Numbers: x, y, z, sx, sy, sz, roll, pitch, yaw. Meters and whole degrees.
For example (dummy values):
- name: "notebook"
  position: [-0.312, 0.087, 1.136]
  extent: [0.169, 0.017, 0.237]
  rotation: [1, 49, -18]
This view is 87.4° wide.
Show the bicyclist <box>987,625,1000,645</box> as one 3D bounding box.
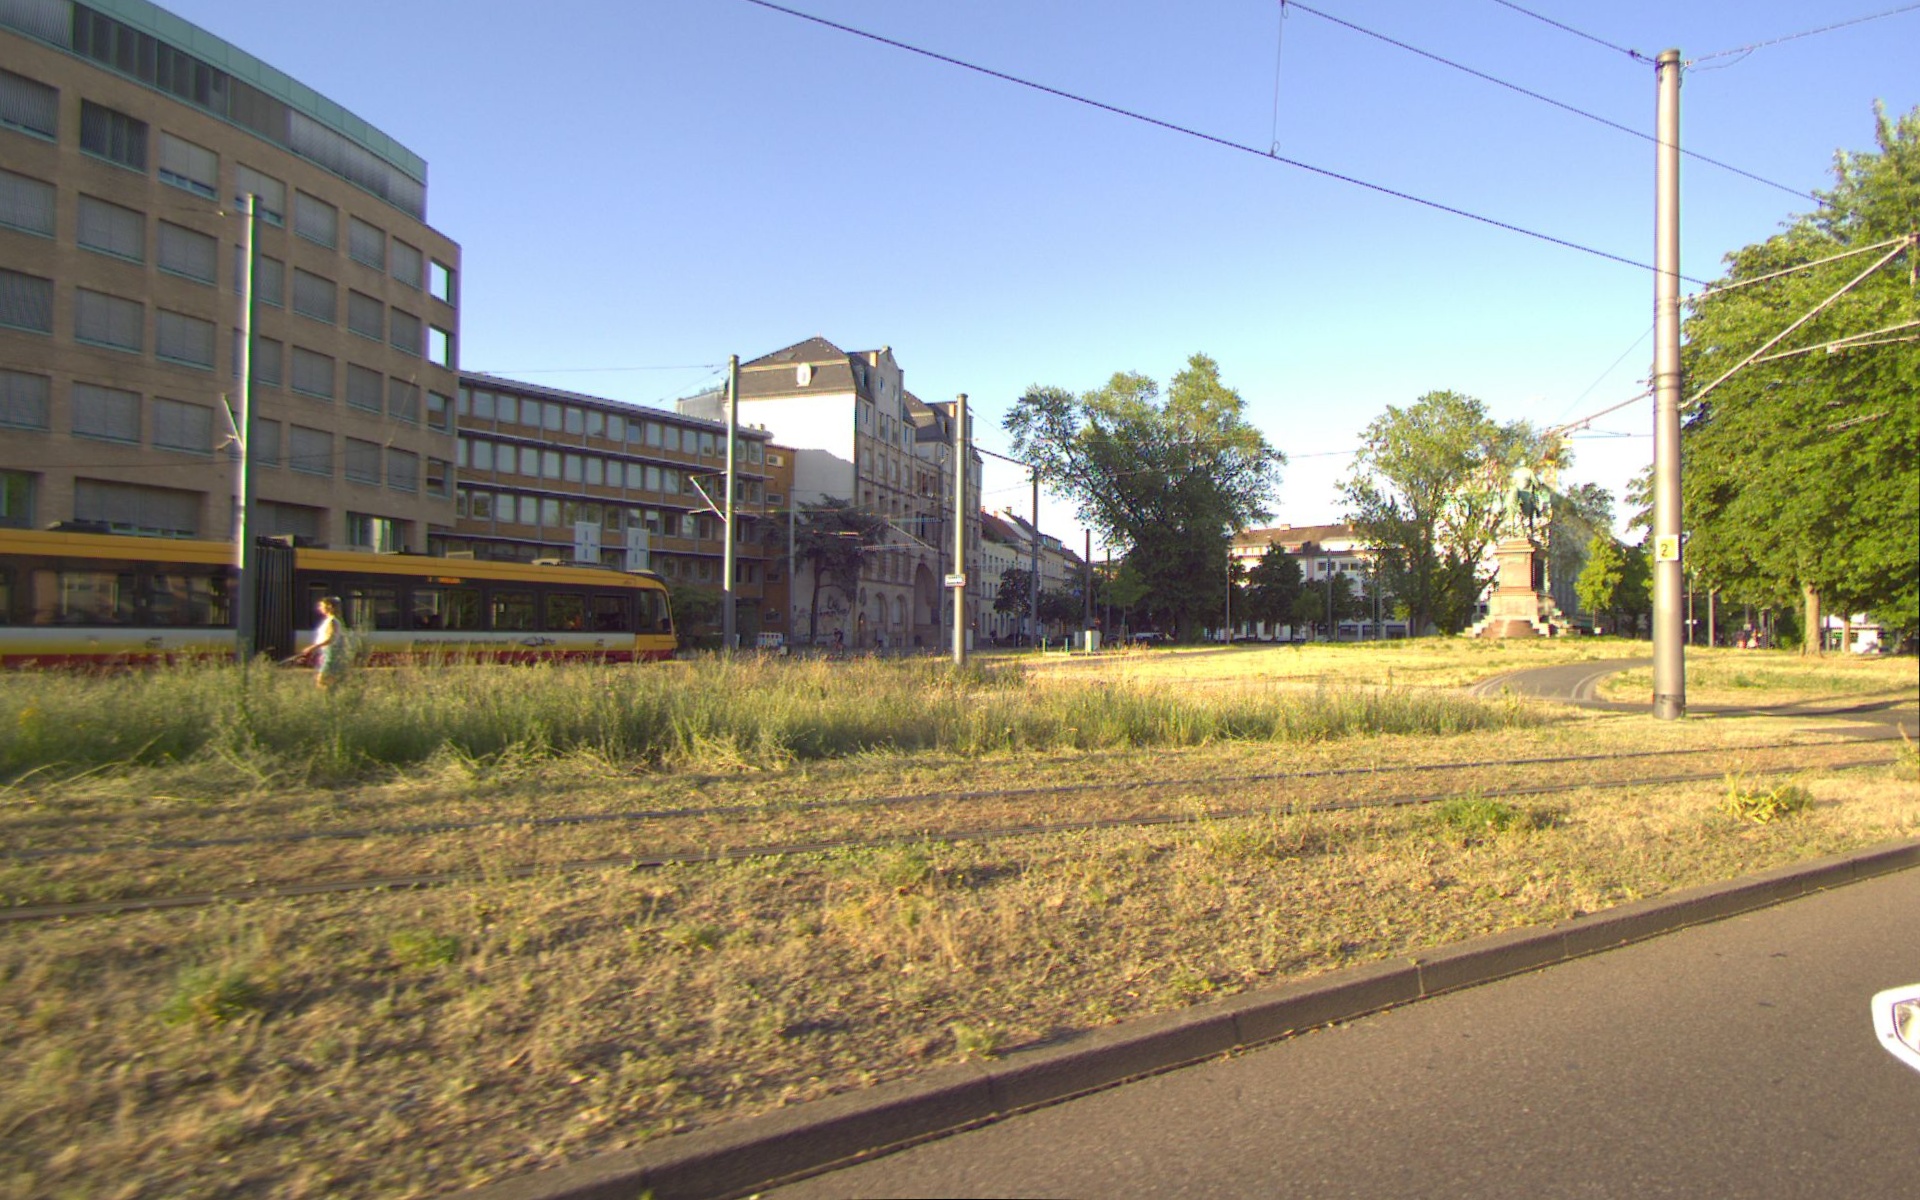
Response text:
- name: "bicyclist"
  position: [3.050, 3.134, 90.296]
  extent: [0.934, 1.713, 0.898]
  rotation: [1, 0, 19]

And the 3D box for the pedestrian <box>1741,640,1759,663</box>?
- name: "pedestrian"
  position: [66.274, 4.343, 84.299]
  extent: [0.983, 1.864, 0.859]
  rotation: [-1, 0, -25]

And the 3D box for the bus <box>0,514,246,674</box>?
- name: "bus"
  position: [-22.291, -0.153, 21.618]
  extent: [3.703, 3.375, 10.690]
  rotation: [1, -1, 39]

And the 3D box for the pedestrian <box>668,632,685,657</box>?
- name: "pedestrian"
  position: [-15.517, 2.438, 55.043]
  extent: [0.559, 1.342, 0.680]
  rotation: [1, -1, 41]

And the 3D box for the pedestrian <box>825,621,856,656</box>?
- name: "pedestrian"
  position: [-7.385, 2.384, 62.056]
  extent: [1.044, 2.122, 1.624]
  rotation: [1, -1, 43]

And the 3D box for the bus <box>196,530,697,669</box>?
- name: "bus"
  position: [-14.916, 0.131, 31.288]
  extent: [3.700, 3.407, 13.662]
  rotation: [1, -1, 37]

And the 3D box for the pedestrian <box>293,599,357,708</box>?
- name: "pedestrian"
  position: [-8.893, 0.731, 14.098]
  extent: [0.691, 1.478, 0.667]
  rotation: [1, -1, -29]

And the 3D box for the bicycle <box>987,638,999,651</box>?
- name: "bicycle"
  position: [2.995, 3.986, 90.231]
  extent: [0.463, 1.024, 2.202]
  rotation: [1, -1, 18]
